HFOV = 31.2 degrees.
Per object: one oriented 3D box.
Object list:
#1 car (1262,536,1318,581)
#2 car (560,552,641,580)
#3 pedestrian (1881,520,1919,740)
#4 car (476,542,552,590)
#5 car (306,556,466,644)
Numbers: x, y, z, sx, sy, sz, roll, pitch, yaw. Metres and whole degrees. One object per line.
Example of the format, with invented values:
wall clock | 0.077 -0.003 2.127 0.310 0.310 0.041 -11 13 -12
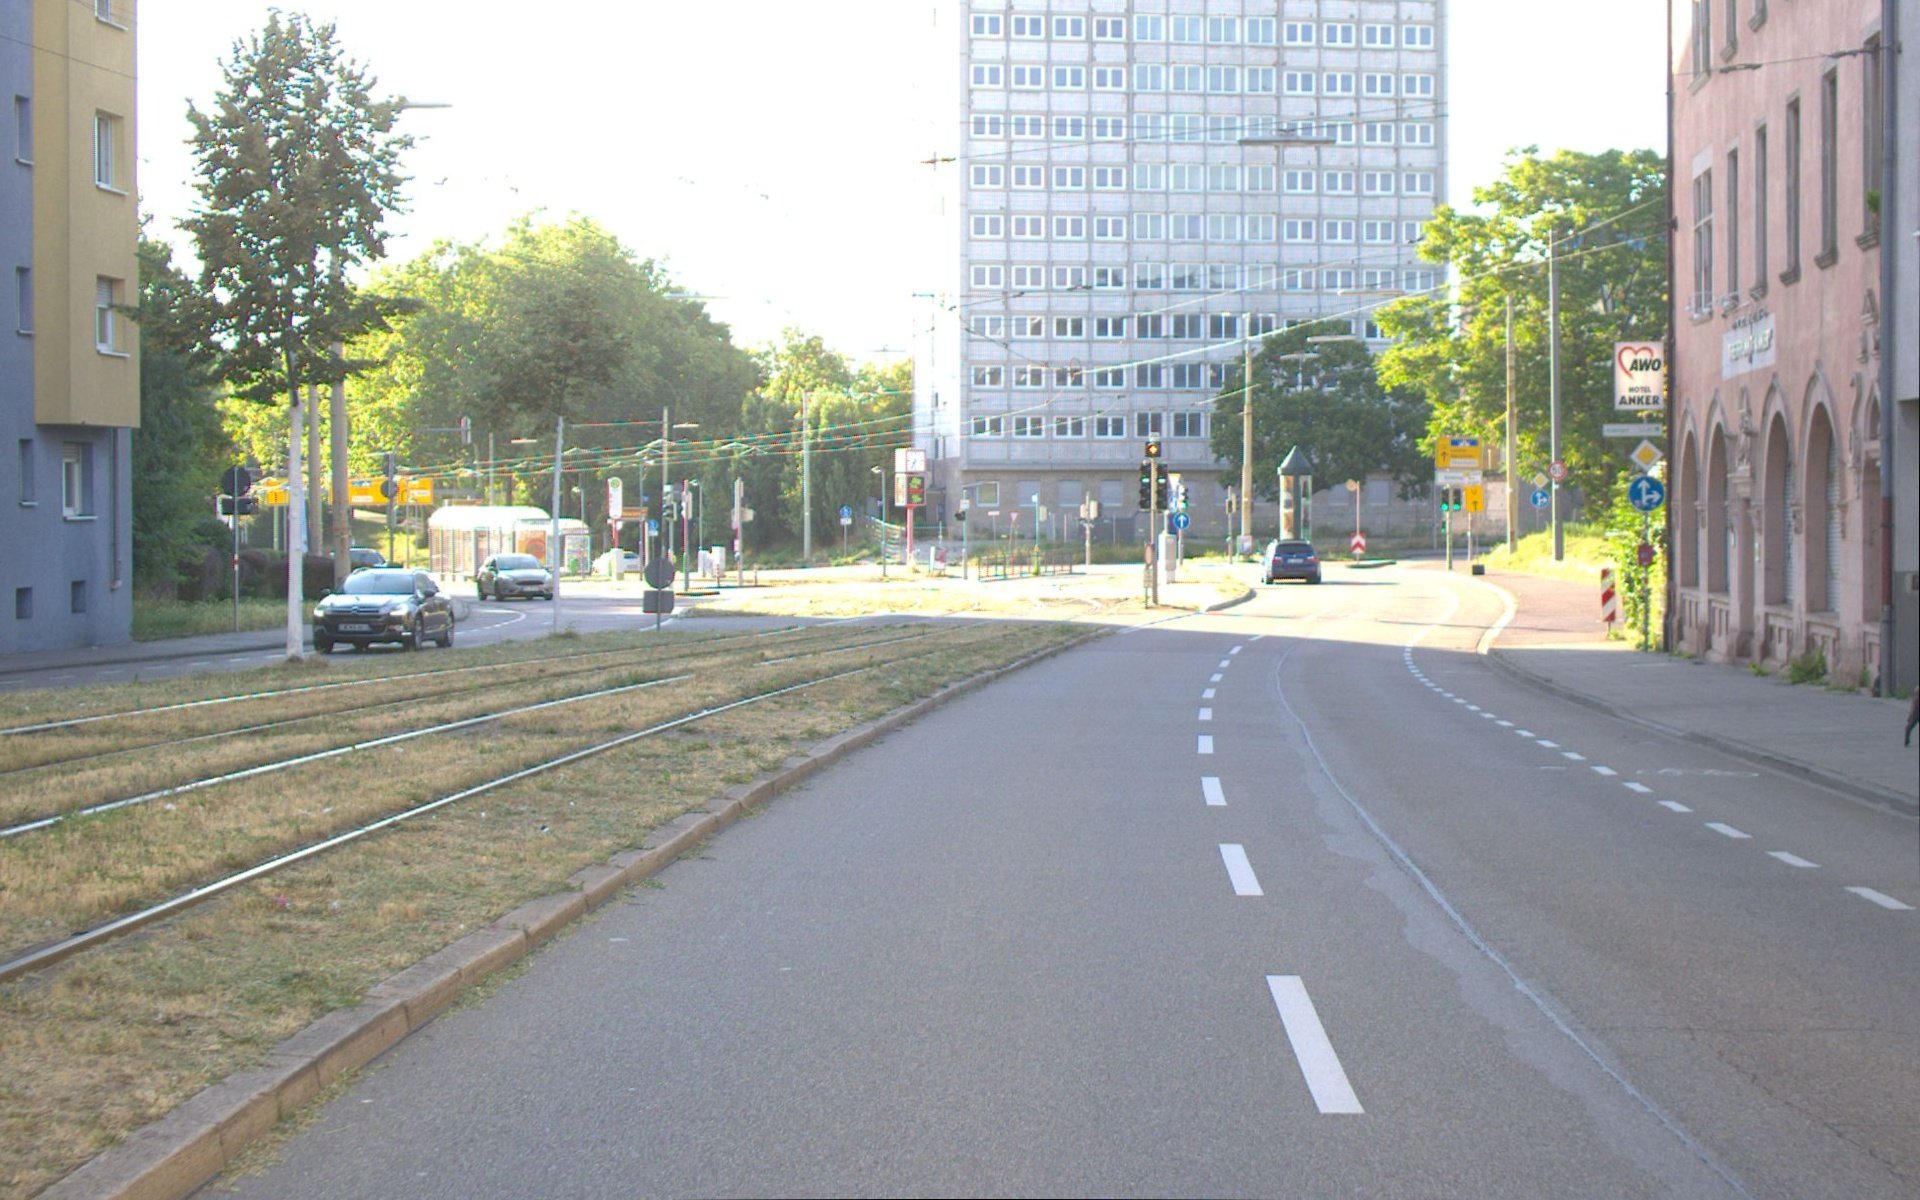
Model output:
car | 10.769 -1.361 112.075 1.772 1.417 3.855 0 1 6
car | -20.021 -1.884 191.439 3.992 1.525 1.998 0 1 23
pedestrian | 8.056 0.228 28.118 0.830 1.765 0.996 0 1 4
car | -14.171 -1.085 109.416 1.697 1.455 4.316 -2 1 2
car | -10.329 -0.012 62.165 1.793 1.464 4.795 -2 0 3
